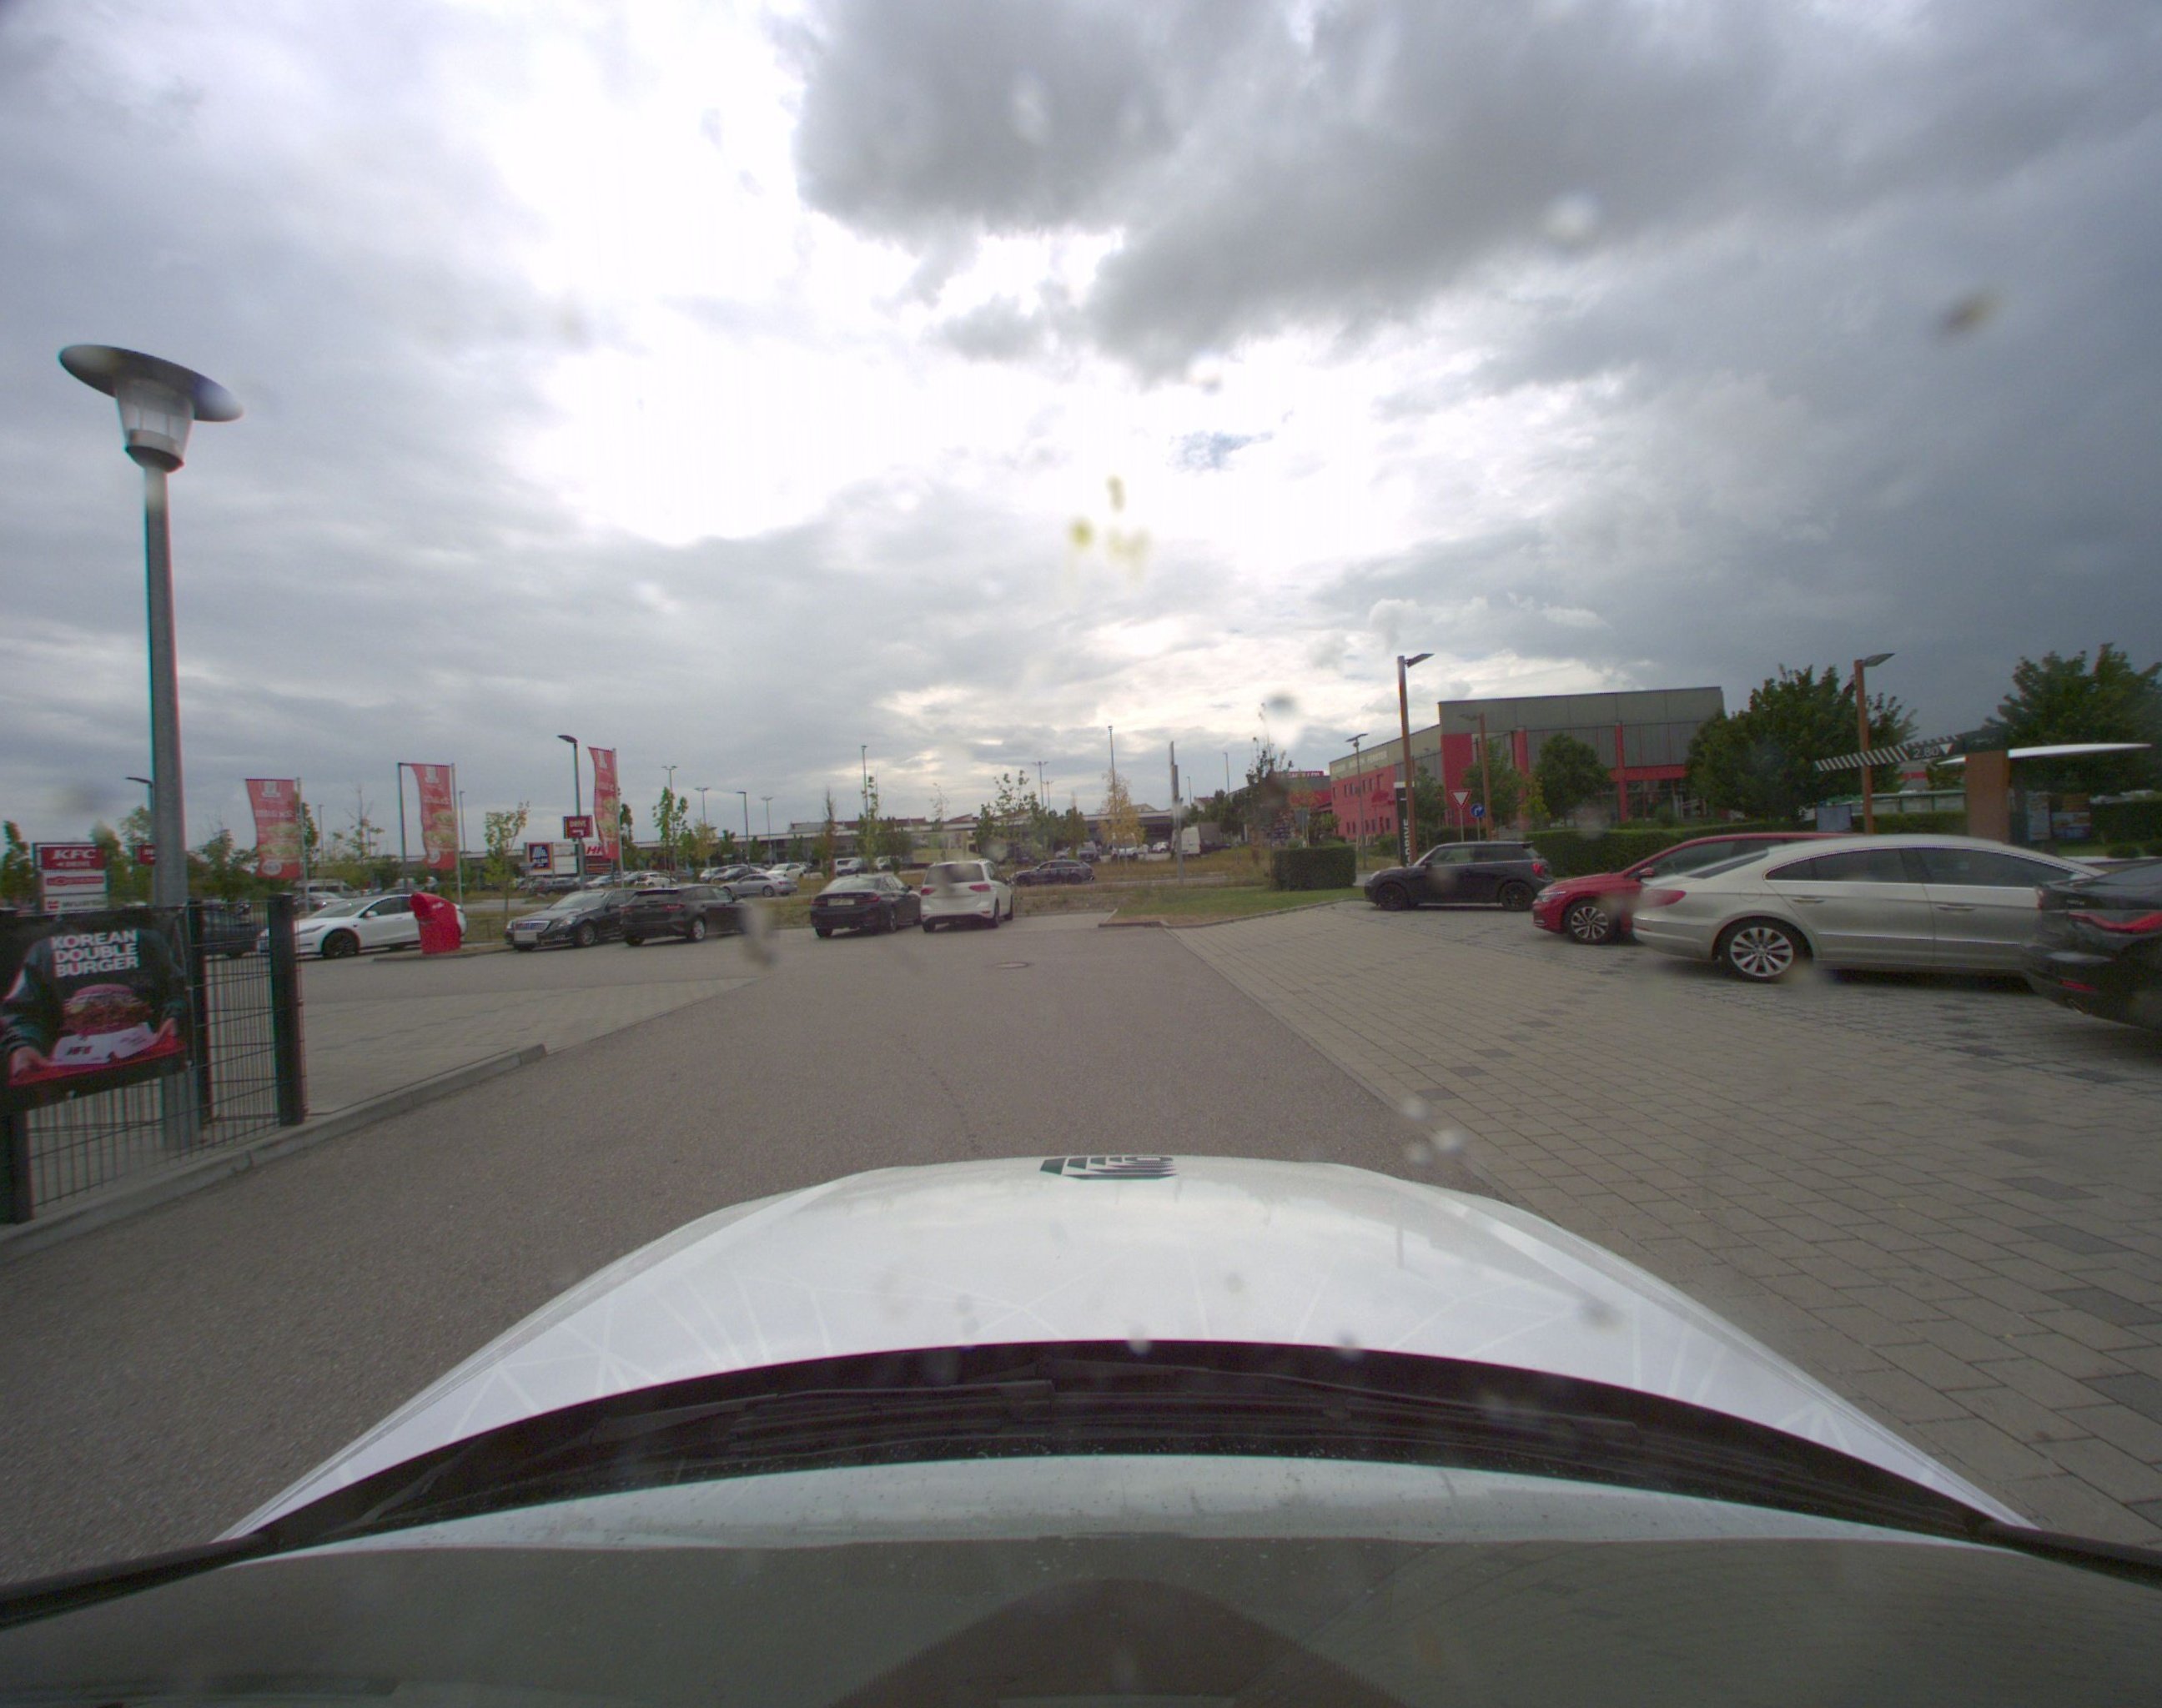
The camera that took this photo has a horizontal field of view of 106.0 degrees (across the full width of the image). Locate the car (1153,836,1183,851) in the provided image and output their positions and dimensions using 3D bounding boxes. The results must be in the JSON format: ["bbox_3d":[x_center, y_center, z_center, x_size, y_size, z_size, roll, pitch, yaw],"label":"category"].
[{"bbox_3d":[11.959,-1.492,112.686,3.970,1.735,1.936,-3,1,3],"label":"car"}]

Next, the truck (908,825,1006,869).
[{"bbox_3d":[-10.409,-0.541,67.745,8.323,3.195,3.049,-2,2,38],"label":"truck"}]

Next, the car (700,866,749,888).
[{"bbox_3d":[-31.583,2.015,72.312,1.753,1.539,4.071,-3,2,14],"label":"car"}]

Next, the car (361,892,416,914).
[{"bbox_3d":[-50.446,3.546,59.357,3.420,1.370,1.440,-3,2,19],"label":"car"}]

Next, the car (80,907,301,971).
[{"bbox_3d":[-24.901,2.333,22.982,1.721,1.412,3.820,-3,-2,12],"label":"car"}]

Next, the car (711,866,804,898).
[{"bbox_3d":[-19.572,1.680,49.356,4.814,1.551,1.805,-3,1,6],"label":"car"}]

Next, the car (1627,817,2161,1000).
[{"bbox_3d":[8.009,0.442,7.828,4.402,1.412,1.765,-2,0,39],"label":"car"}]

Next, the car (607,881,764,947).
[{"bbox_3d":[-10.086,1.482,21.161,1.874,1.412,4.073,-3,-2,3],"label":"car"}]

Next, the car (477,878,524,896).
[{"bbox_3d":[-71.818,4.084,100.799,4.161,1.837,1.999,-3,1,-2],"label":"car"}]

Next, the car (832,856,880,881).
[{"bbox_3d":[-19.031,1.183,69.001,1.911,1.771,4.338,-3,2,14],"label":"car"}]

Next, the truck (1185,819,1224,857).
[{"bbox_3d":[13.089,-1.745,86.805,2.640,3.742,8.256,-3,2,0],"label":"truck"}]

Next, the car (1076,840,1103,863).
[{"bbox_3d":[0.718,-0.220,65.878,2.064,1.638,5.072,-3,2,1],"label":"car"}]

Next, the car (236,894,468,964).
[{"bbox_3d":[-19.952,1.982,22.615,1.908,1.541,4.558,-3,-2,10],"label":"car"}]

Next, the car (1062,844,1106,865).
[{"bbox_3d":[0.287,0.036,77.017,3.974,1.738,1.891,-3,1,0],"label":"car"}]

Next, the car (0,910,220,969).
[{"bbox_3d":[-29.576,2.549,24.961,1.820,1.412,3.955,-3,-2,15],"label":"car"}]

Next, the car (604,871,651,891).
[{"bbox_3d":[-42.761,2.509,76.886,1.755,1.539,3.776,-3,2,11],"label":"car"}]

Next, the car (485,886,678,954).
[{"bbox_3d":[-13.073,1.655,21.747,1.897,1.456,4.747,-3,-2,4],"label":"car"}]

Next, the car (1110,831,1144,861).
[{"bbox_3d":[3.657,-0.697,66.204,2.400,2.214,6.061,-3,2,1],"label":"car"}]

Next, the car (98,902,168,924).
[{"bbox_3d":[-71.884,4.456,61.767,4.174,1.394,1.776,-3,0,15],"label":"car"}]

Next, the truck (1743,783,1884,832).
[{"bbox_3d":[74.912,-4.600,83.854,3.742,4.498,12.002,-3,2,1],"label":"truck"}]

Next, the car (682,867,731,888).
[{"bbox_3d":[-33.673,2.112,73.368,1.753,1.539,4.071,-3,2,14],"label":"car"}]

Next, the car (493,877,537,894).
[{"bbox_3d":[-72.119,4.015,103.851,4.154,1.837,2.003,-3,1,4],"label":"car"}]

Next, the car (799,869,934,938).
[{"bbox_3d":[-5.240,1.178,20.577,1.933,1.466,4.519,-3,-2,3],"label":"car"}]

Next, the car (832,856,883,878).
[{"bbox_3d":[-20.468,1.200,74.660,3.954,1.771,2.010,-3,2,19],"label":"car"}]

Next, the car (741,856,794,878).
[{"bbox_3d":[-29.916,1.268,77.803,4.273,1.771,1.930,-3,2,17],"label":"car"}]

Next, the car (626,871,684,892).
[{"bbox_3d":[-38.404,2.463,73.499,1.976,1.539,4.184,-3,2,23],"label":"car"}]

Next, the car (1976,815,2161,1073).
[{"bbox_3d":[7.975,0.448,4.173,4.350,1.463,1.698,-2,0,41],"label":"car"}]

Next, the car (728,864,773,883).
[{"bbox_3d":[-38.098,2.204,93.897,4.155,1.837,2.002,-3,1,3],"label":"car"}]

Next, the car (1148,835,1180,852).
[{"bbox_3d":[10.599,-1.353,104.169,3.970,1.837,2.002,-3,1,3],"label":"car"}]

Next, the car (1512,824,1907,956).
[{"bbox_3d":[8.248,0.429,11.013,3.949,1.464,1.698,-2,0,41],"label":"car"}]

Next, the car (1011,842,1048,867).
[{"bbox_3d":[-4.144,0.025,66.903,2.060,1.884,5.080,-3,0,7],"label":"car"}]

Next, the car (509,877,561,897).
[{"bbox_3d":[-54.443,3.272,81.262,1.889,1.539,4.068,-3,2,11],"label":"car"}]

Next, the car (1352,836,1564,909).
[{"bbox_3d":[8.138,0.406,17.723,3.879,1.412,1.698,-2,0,38],"label":"car"}]

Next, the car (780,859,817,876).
[{"bbox_3d":[-37.320,1.790,107.640,4.155,1.837,2.002,-3,1,3],"label":"car"}]

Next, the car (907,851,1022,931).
[{"bbox_3d":[-2.804,0.897,20.574,1.977,1.713,4.375,-3,-2,3],"label":"car"}]

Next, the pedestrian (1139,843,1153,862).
[{"bbox_3d":[5.286,-0.111,65.999,0.972,1.429,0.787,-3,1,-1],"label":"pedestrian"}]

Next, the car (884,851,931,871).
[{"bbox_3d":[-17.854,0.716,84.015,4.292,1.771,2.001,-3,1,1],"label":"car"}]

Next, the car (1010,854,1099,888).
[{"bbox_3d":[-1.490,0.964,46.495,4.818,1.551,1.804,-3,1,3],"label":"car"}]

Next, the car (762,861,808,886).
[{"bbox_3d":[-25.776,1.677,71.110,1.983,1.771,4.329,-3,2,6],"label":"car"}]

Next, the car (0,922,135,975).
[{"bbox_3d":[-33.955,3.072,26.322,1.708,1.428,4.018,-3,-1,18],"label":"car"}]

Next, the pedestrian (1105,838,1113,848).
[{"bbox_3d":[4.315,-1.740,125.524,0.656,1.429,0.789,-4,2,-36],"label":"pedestrian"}]

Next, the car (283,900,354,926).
[{"bbox_3d":[-52.220,4.037,55.770,3.953,1.459,1.840,-3,2,20],"label":"car"}]

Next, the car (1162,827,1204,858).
[{"bbox_3d":[8.199,-0.990,65.909,2.331,2.267,6.503,-3,2,-1],"label":"car"}]

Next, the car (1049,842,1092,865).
[{"bbox_3d":[-1.083,-0.063,81.288,3.983,2.013,1.996,-4,1,-7],"label":"car"}]
